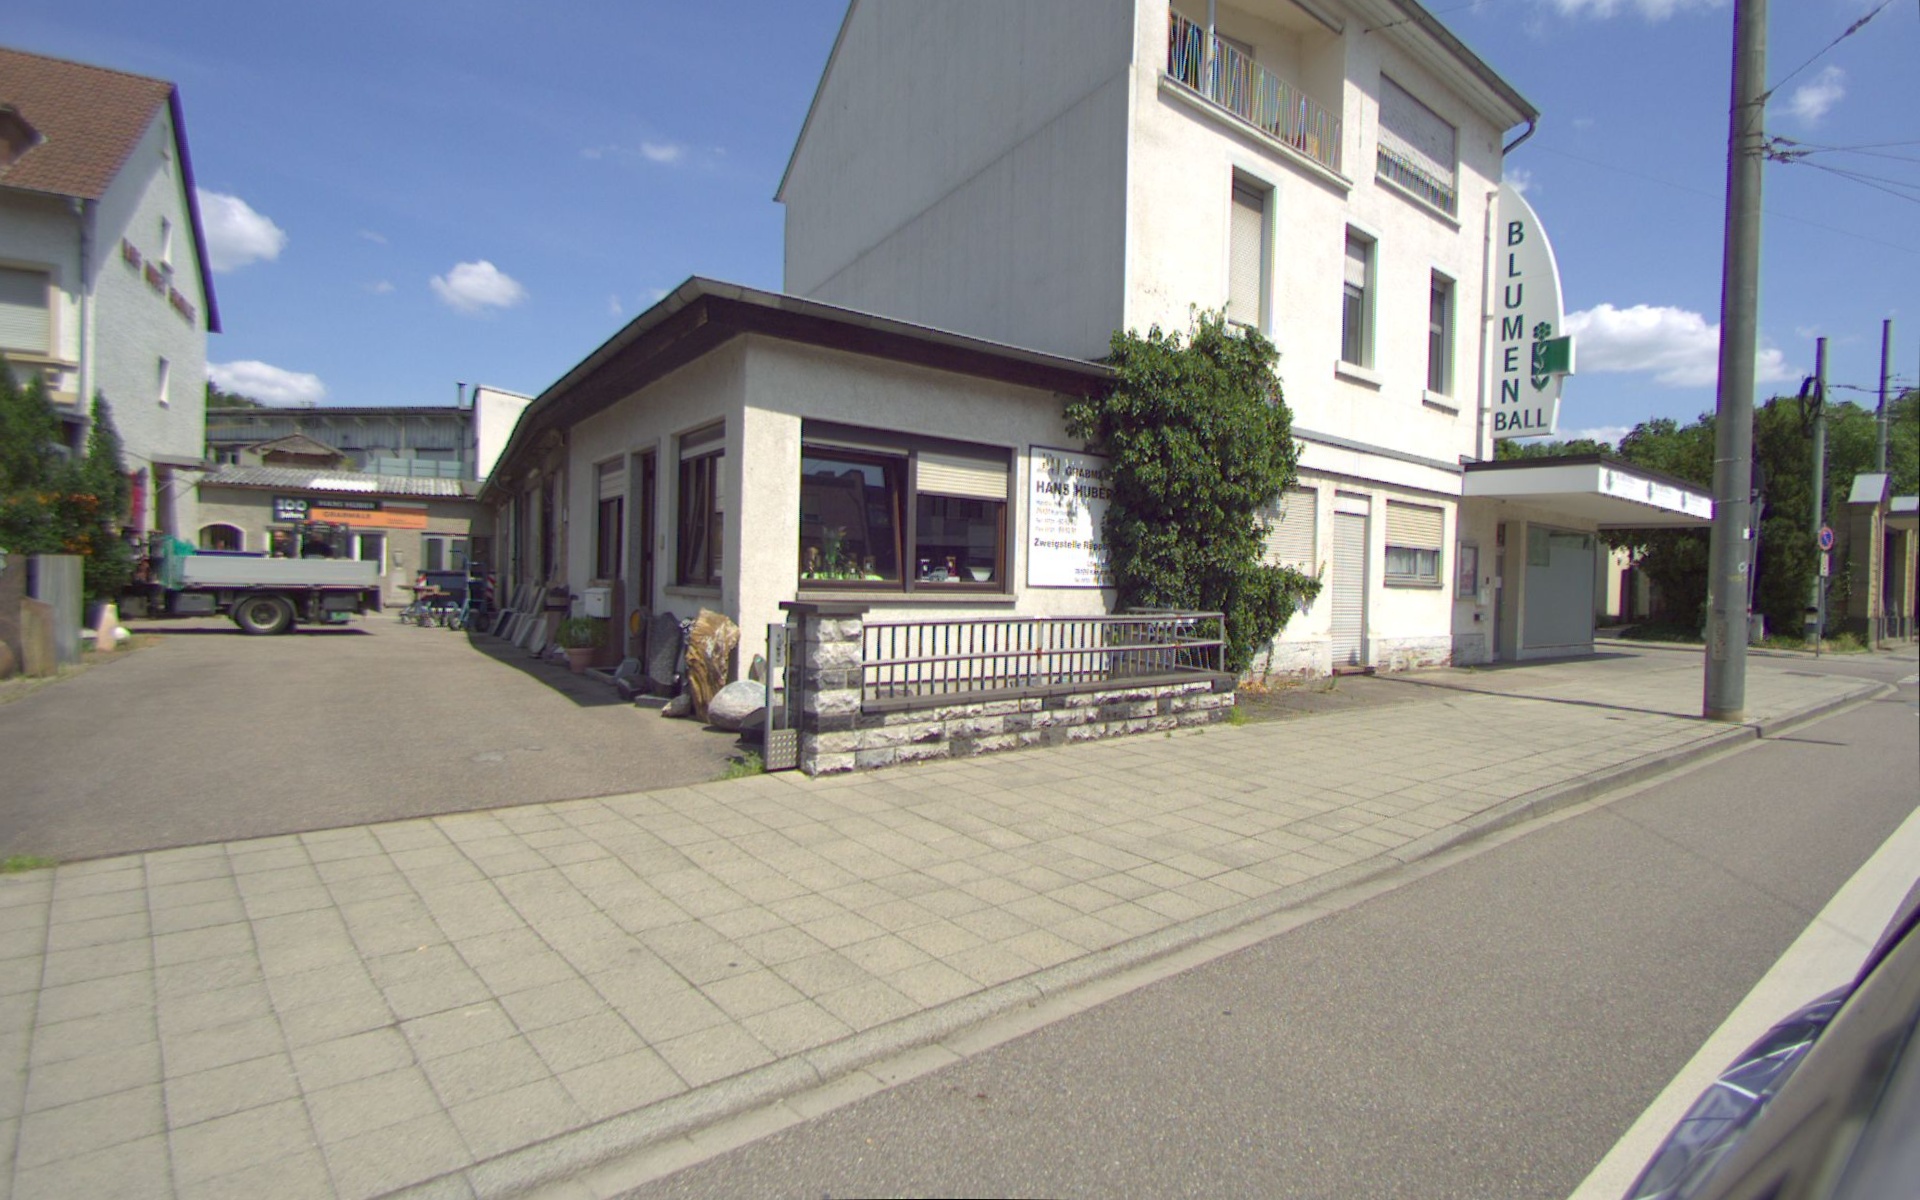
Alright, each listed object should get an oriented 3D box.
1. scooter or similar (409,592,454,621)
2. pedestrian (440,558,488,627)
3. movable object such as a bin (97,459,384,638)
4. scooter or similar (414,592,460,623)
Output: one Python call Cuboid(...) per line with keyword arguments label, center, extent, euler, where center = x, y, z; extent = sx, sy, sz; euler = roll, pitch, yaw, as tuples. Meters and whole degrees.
Cuboid(label="scooter or similar", center=(-11.091, 0.129, 21.239), extent=(0.741, 0.581, 0.490), euler=(-1, 3, -41))
Cuboid(label="pedestrian", center=(-9.724, -0.150, 19.838), extent=(0.704, 1.306, 0.646), euler=(-1, 3, -40))
Cuboid(label="movable object such as a bin", center=(-11.869, -0.841, 16.864), extent=(3.741, 2.651, 1.744), euler=(-1, 3, -39))
Cuboid(label="scooter or similar", center=(-10.756, 0.148, 20.810), extent=(0.741, 0.595, 0.490), euler=(-1, 3, -41))
